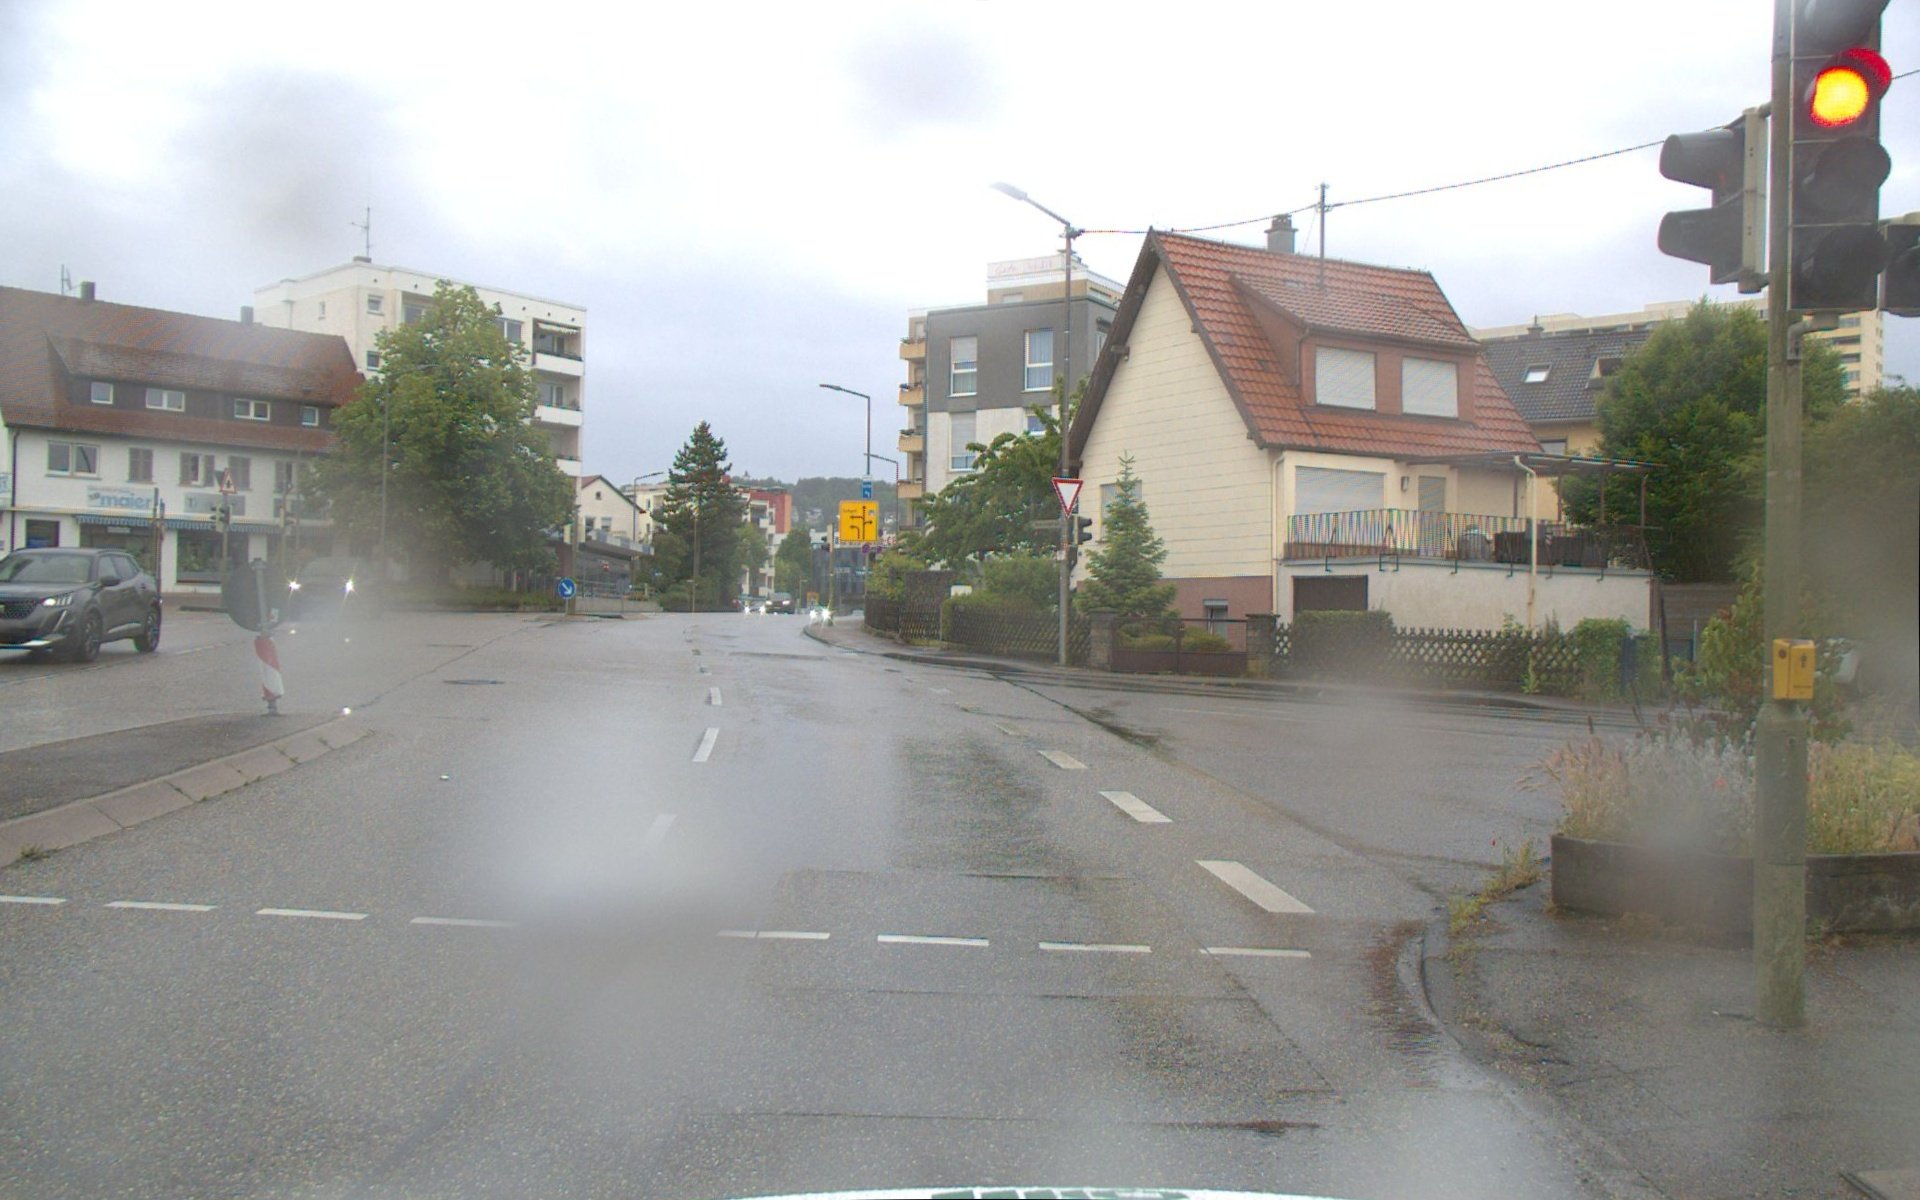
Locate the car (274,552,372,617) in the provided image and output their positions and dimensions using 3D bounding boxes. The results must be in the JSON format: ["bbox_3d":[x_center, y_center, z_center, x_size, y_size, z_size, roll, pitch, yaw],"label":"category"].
[{"bbox_3d":[-17.099,-0.392,44.596,1.846,1.625,4.171,1,0,-13],"label":"car"}]

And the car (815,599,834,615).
[{"bbox_3d":[-14.829,0.781,180.741,1.955,1.708,3.995,1,0,-5],"label":"car"}]

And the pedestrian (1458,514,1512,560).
[{"bbox_3d":[11.154,-1.332,35.173,0.902,0.898,0.632,1,-2,-20],"label":"pedestrian"}]

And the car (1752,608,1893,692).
[{"bbox_3d":[15.624,0.869,29.872,1.780,1.386,3.986,1,0,35],"label":"car"}]

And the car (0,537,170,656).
[{"bbox_3d":[-12.849,-0.045,23.447,1.931,1.538,3.990,1,0,-10],"label":"car"}]

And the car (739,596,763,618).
[{"bbox_3d":[-18.636,0.635,147.824,1.955,1.937,3.995,1,0,-5],"label":"car"}]

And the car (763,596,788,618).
[{"bbox_3d":[-15.083,0.571,135.143,1.956,1.768,5.173,1,0,-7],"label":"car"}]

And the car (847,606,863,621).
[{"bbox_3d":[-13.711,1.729,215.956,1.955,1.843,3.995,1,0,-5],"label":"car"}]
